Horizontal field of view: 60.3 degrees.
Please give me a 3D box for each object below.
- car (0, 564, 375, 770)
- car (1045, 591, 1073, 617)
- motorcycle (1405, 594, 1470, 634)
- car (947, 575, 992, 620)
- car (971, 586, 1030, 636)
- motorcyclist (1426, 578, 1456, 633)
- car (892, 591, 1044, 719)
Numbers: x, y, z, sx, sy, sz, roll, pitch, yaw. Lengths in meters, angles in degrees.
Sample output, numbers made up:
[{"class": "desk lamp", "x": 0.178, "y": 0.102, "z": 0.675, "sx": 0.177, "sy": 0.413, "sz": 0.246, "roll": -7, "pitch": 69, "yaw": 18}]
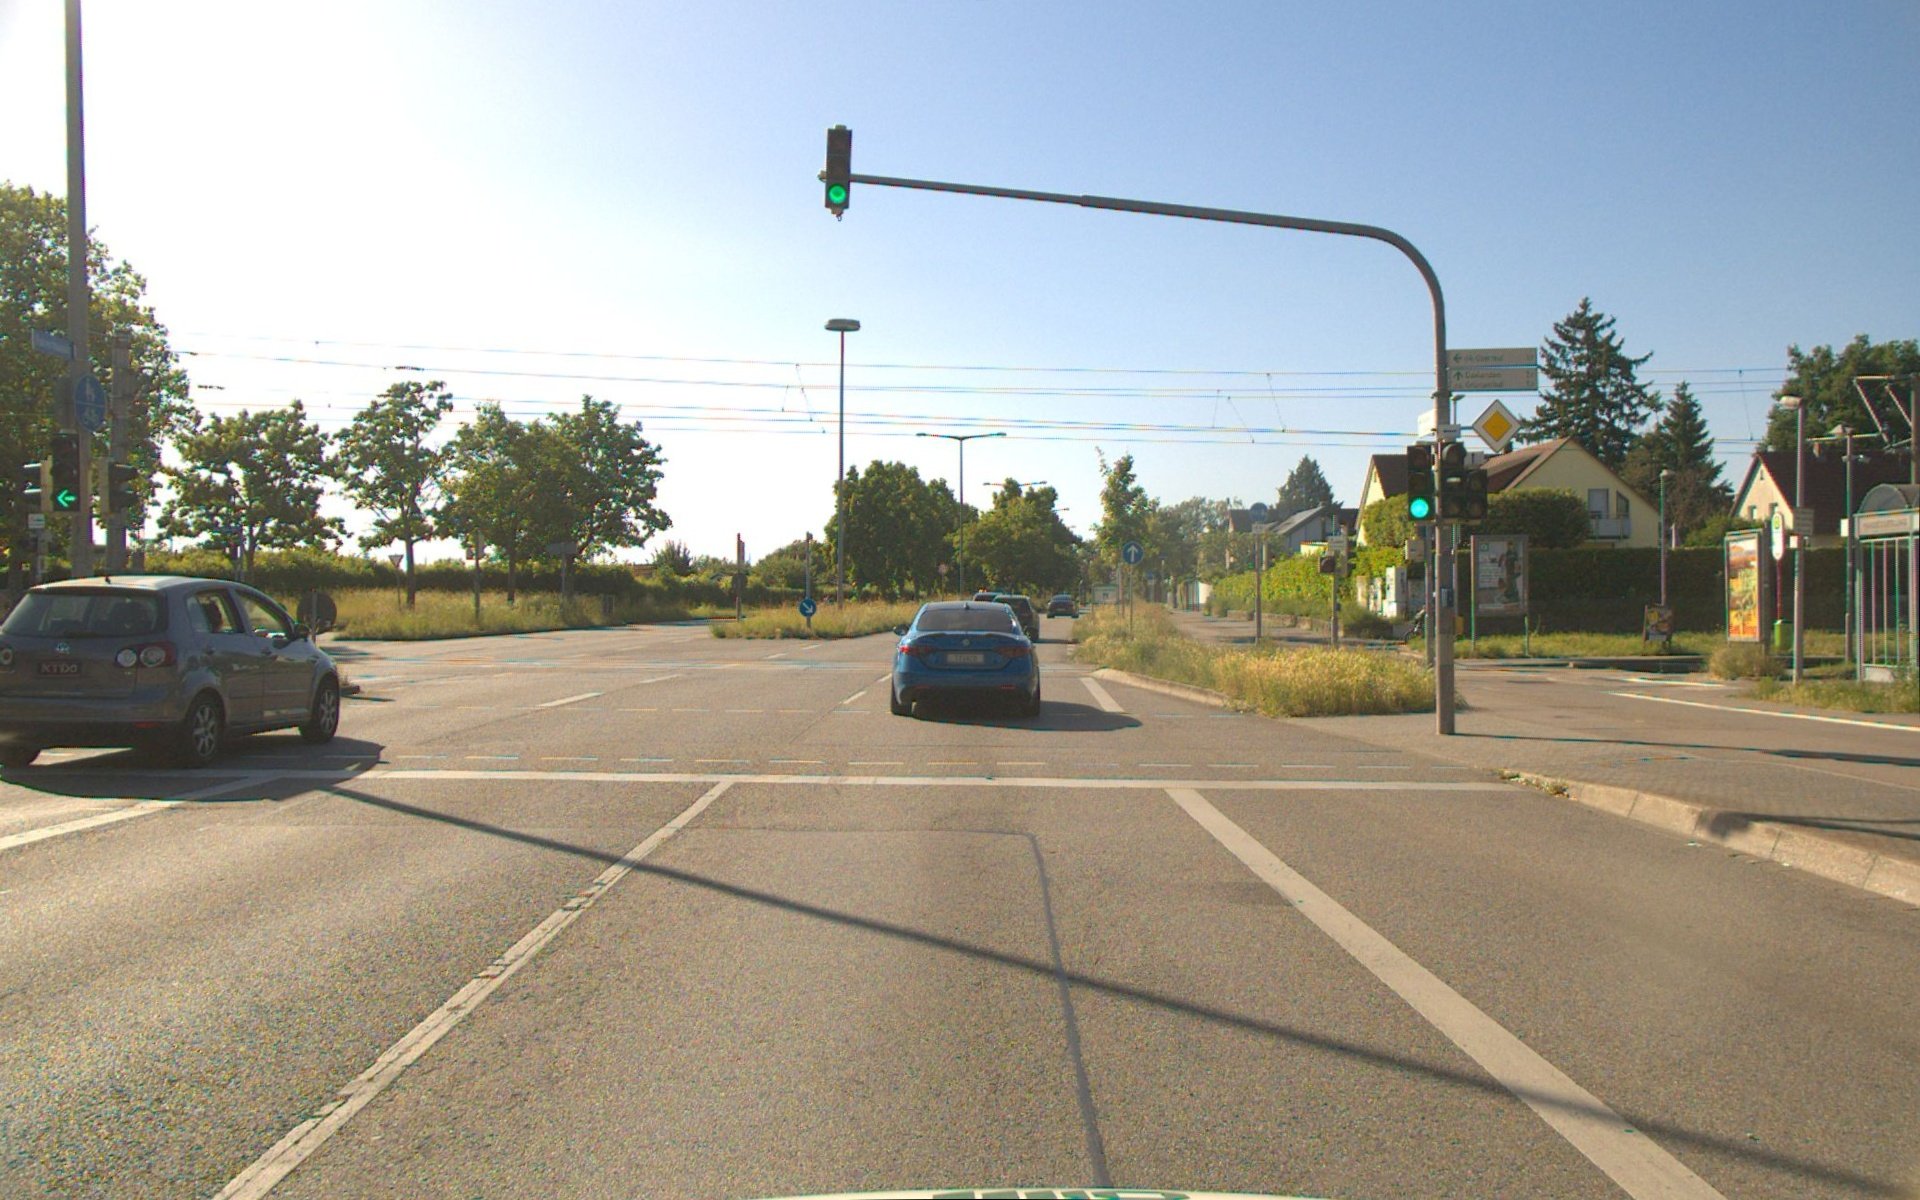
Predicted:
[{"class": "car", "x": -7.078, "y": 0.510, "z": 15.220, "sx": 1.804, "sy": 1.598, "sz": 4.386, "roll": 1, "pitch": 0, "yaw": 0}, {"class": "car", "x": 6.259, "y": 0.218, "z": 104.545, "sx": 1.625, "sy": 1.607, "sz": 3.811, "roll": 0, "pitch": 0, "yaw": 5}, {"class": "motorcycle", "x": 13.827, "y": 0.403, "z": 47.910, "sx": 1.719, "sy": 1.090, "sz": 0.452, "roll": -1, "pitch": 0, "yaw": 5}, {"class": "car", "x": 0.466, "y": -0.128, "z": 77.589, "sx": 1.755, "sy": 2.049, "sz": 4.003, "roll": 0, "pitch": 0, "yaw": 6}, {"class": "car", "x": 1.397, "y": 0.363, "z": 55.616, "sx": 1.875, "sy": 1.607, "sz": 4.183, "roll": 0, "pitch": 0, "yaw": 2}, {"class": "motorcyclist", "x": 13.929, "y": 0.153, "z": 47.900, "sx": 0.678, "sy": 1.585, "sz": 0.700, "roll": -1, "pitch": 0, "yaw": 5}, {"class": "car", "x": 0.060, "y": 0.643, "z": 21.735, "sx": 1.801, "sy": 1.500, "sz": 4.183, "roll": 0, "pitch": 0, "yaw": -1}]
